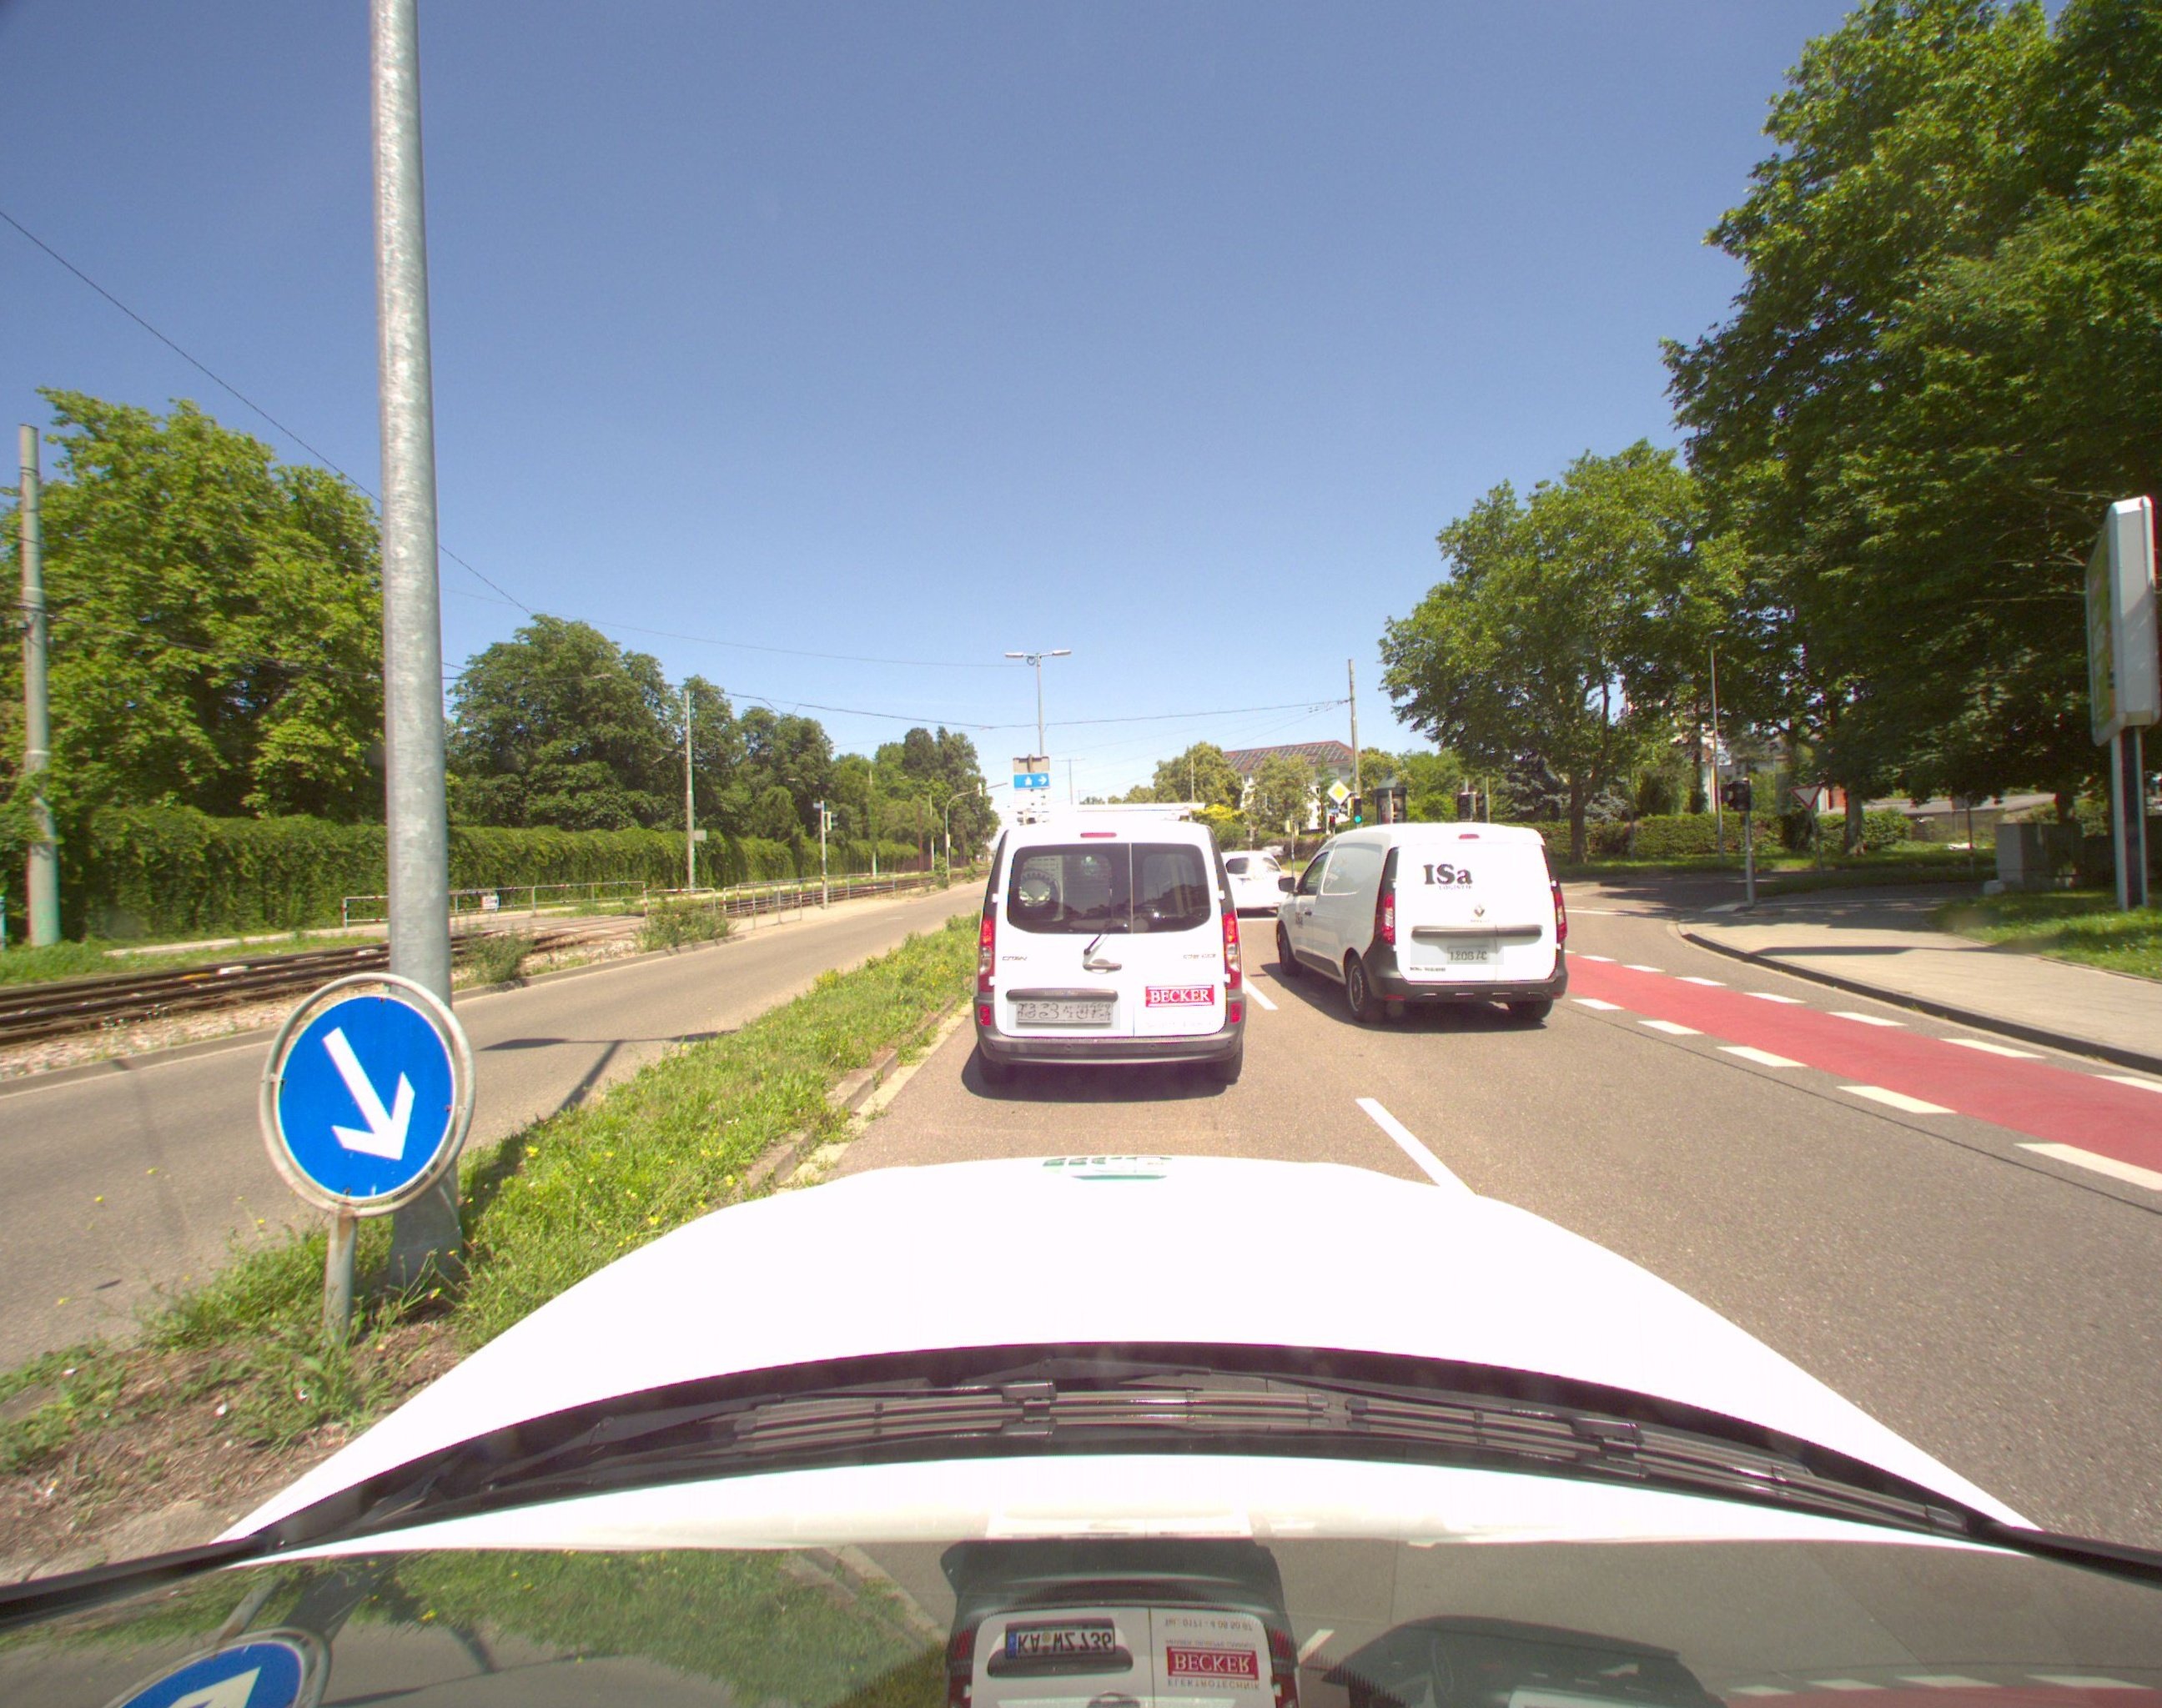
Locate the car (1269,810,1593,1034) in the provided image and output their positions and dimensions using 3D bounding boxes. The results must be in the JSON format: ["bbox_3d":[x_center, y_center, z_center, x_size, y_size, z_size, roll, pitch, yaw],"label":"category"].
[{"bbox_3d":[3.287,0.557,8.590,1.721,1.788,4.065,0,0,1],"label":"car"}]

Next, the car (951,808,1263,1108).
[{"bbox_3d":[0.223,0.621,7.034,1.814,1.739,4.398,-1,0,2],"label":"car"}]

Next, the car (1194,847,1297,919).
[{"bbox_3d":[3.923,0.624,20.006,1.828,1.568,4.002,0,0,2],"label":"car"}]

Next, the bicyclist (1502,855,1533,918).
[{"bbox_3d":[12.660,0.918,23.619,0.573,1.788,0.770,0,0,9],"label":"bicyclist"}]
